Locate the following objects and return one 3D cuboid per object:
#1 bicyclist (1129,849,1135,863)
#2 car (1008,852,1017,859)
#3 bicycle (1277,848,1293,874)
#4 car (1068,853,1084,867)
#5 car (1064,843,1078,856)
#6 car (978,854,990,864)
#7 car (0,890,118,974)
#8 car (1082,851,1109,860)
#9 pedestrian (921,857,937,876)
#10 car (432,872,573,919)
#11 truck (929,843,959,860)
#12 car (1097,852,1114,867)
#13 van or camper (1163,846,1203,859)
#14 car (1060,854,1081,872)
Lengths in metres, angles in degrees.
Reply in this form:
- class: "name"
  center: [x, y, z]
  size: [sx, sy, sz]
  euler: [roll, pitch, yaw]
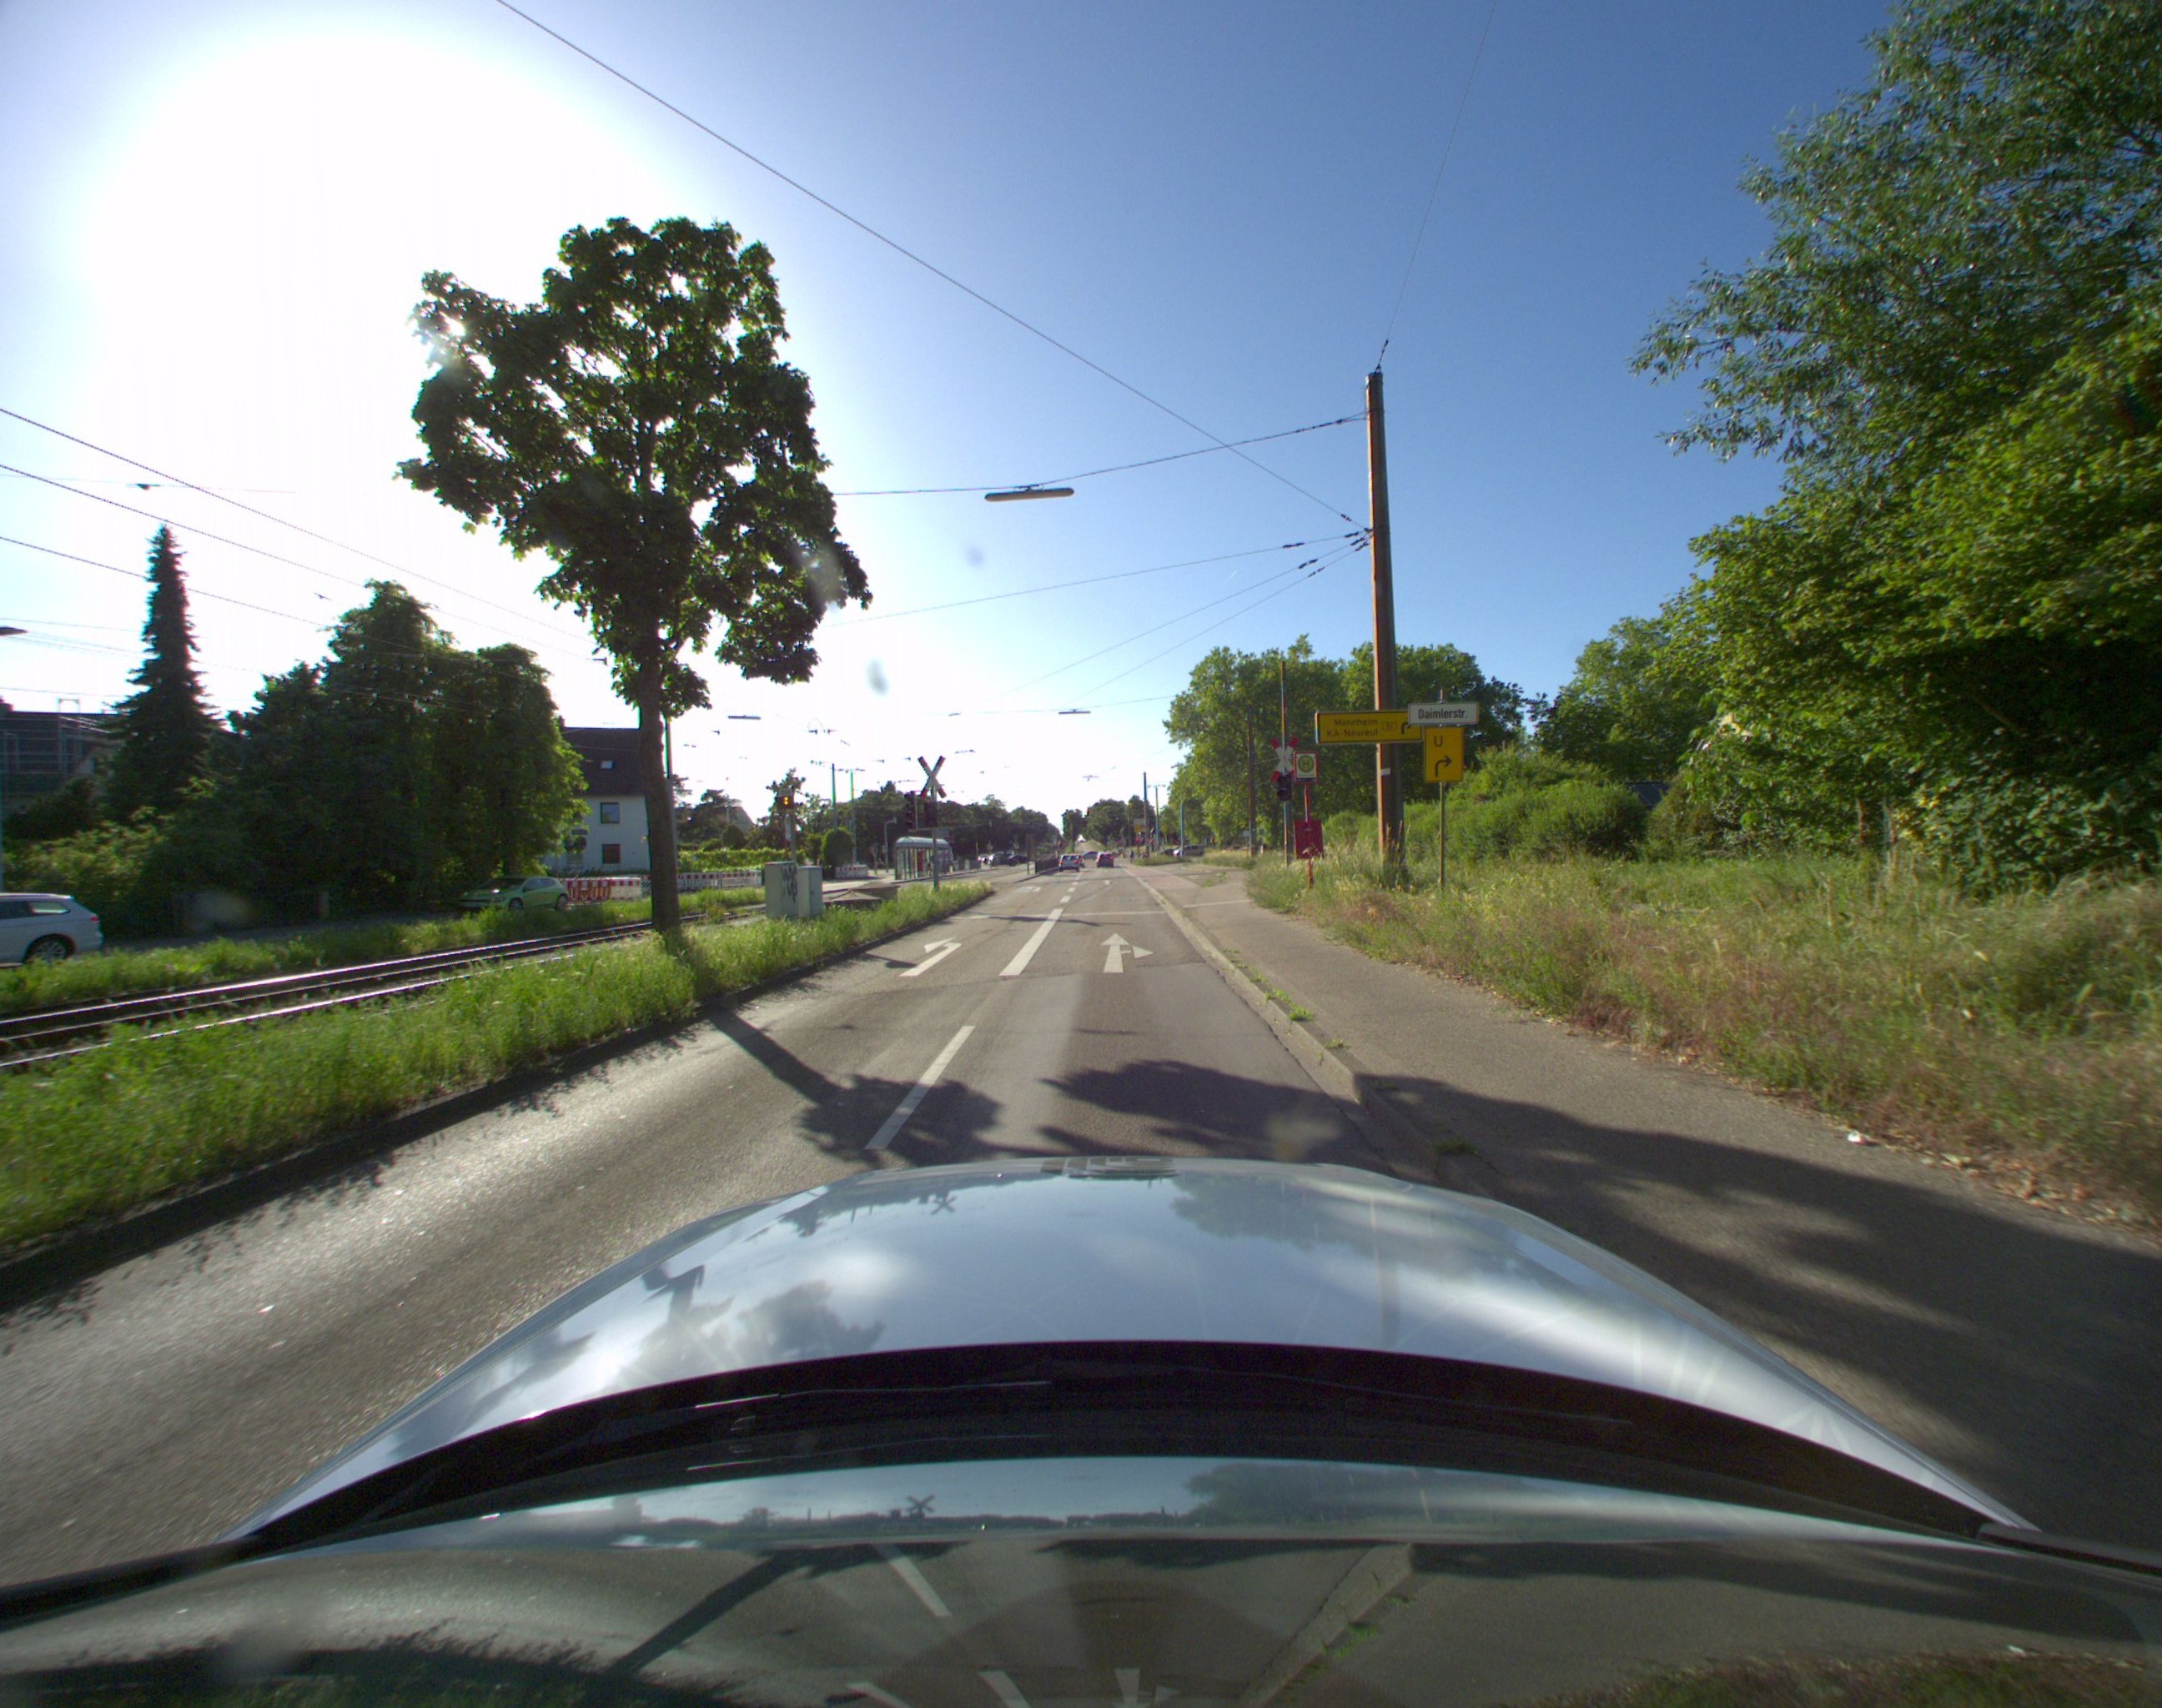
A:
- class: "bicyclist"
  center: [6.058, 0.239, 97.427]
  size: [0.663, 1.716, 0.948]
  euler: [-1, -1, 1]
- class: "car"
  center: [-15.468, 0.297, 183.101]
  size: [1.991, 1.604, 4.746]
  euler: [-1, 0, -6]
- class: "bicycle"
  center: [9.325, 0.324, 37.195]
  size: [0.362, 1.135, 2.107]
  euler: [-2, 0, 23]
- class: "car"
  center: [-0.501, 0.649, 89.111]
  size: [1.613, 1.457, 4.086]
  euler: [-1, 0, 2]
- class: "car"
  center: [-1.591, -0.703, 134.253]
  size: [1.986, 2.014, 4.493]
  euler: [-1, 0, 2]
- class: "car"
  center: [-16.322, 0.877, 137.060]
  size: [1.829, 1.548, 3.993]
  euler: [-2, 0, -5]
- class: "car"
  center: [-20.890, 1.485, 14.528]
  size: [1.877, 1.472, 4.614]
  euler: [-1, 0, 0]
- class: "car"
  center: [2.324, 0.210, 129.306]
  size: [4.000, 1.473, 1.740]
  euler: [0, -1, -20]
- class: "pedestrian"
  center: [-12.163, 0.995, 65.154]
  size: [1.057, 1.453, 1.007]
  euler: [-3, -1, 1]
- class: "car"
  center: [-20.595, 1.426, 29.233]
  size: [1.985, 1.501, 4.071]
  euler: [-1, 0, 3]
- class: "truck"
  center: [-22.934, -0.442, 136.763]
  size: [1.977, 2.565, 6.855]
  euler: [-2, 0, 18]
- class: "car"
  center: [2.480, 0.578, 83.624]
  size: [1.662, 1.462, 3.587]
  euler: [-2, 0, 1]
- class: "van or camper"
  center: [16.032, -0.258, 128.031]
  size: [5.952, 1.828, 1.999]
  euler: [-2, 0, -2]
- class: "car"
  center: [-0.857, 0.730, 67.742]
  size: [1.613, 1.417, 3.352]
  euler: [-3, 0, 1]
